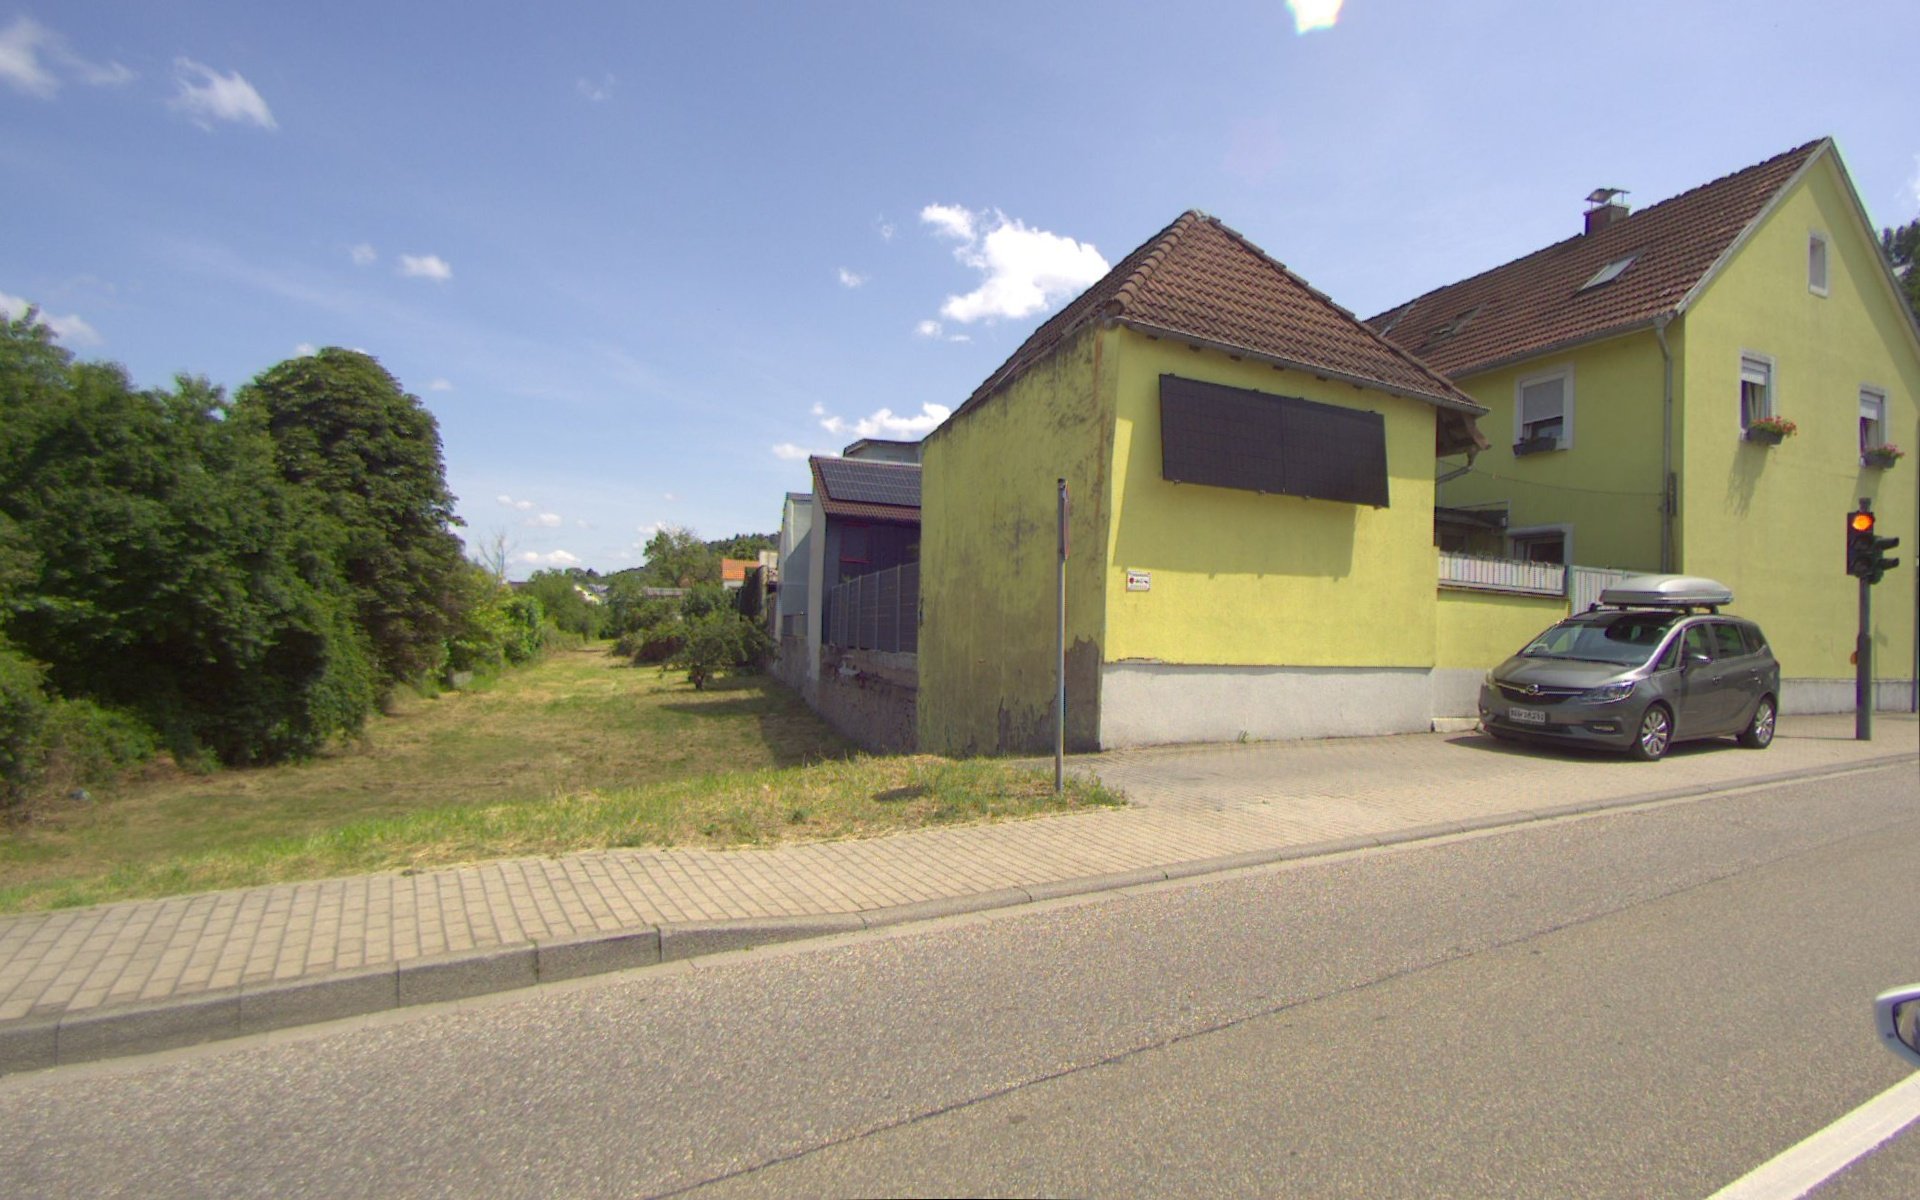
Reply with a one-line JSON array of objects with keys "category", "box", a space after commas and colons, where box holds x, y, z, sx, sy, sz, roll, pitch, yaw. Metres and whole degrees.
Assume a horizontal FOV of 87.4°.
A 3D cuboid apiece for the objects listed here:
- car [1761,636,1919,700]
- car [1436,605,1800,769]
[{"category": "car", "box": [23.365, 1.722, 25.279, 1.901, 1.446, 4.652, 4, -2, -24]}, {"category": "car", "box": [8.227, 0.962, 12.471, 4.577, 1.657, 1.983, 2, 0, -31]}]
